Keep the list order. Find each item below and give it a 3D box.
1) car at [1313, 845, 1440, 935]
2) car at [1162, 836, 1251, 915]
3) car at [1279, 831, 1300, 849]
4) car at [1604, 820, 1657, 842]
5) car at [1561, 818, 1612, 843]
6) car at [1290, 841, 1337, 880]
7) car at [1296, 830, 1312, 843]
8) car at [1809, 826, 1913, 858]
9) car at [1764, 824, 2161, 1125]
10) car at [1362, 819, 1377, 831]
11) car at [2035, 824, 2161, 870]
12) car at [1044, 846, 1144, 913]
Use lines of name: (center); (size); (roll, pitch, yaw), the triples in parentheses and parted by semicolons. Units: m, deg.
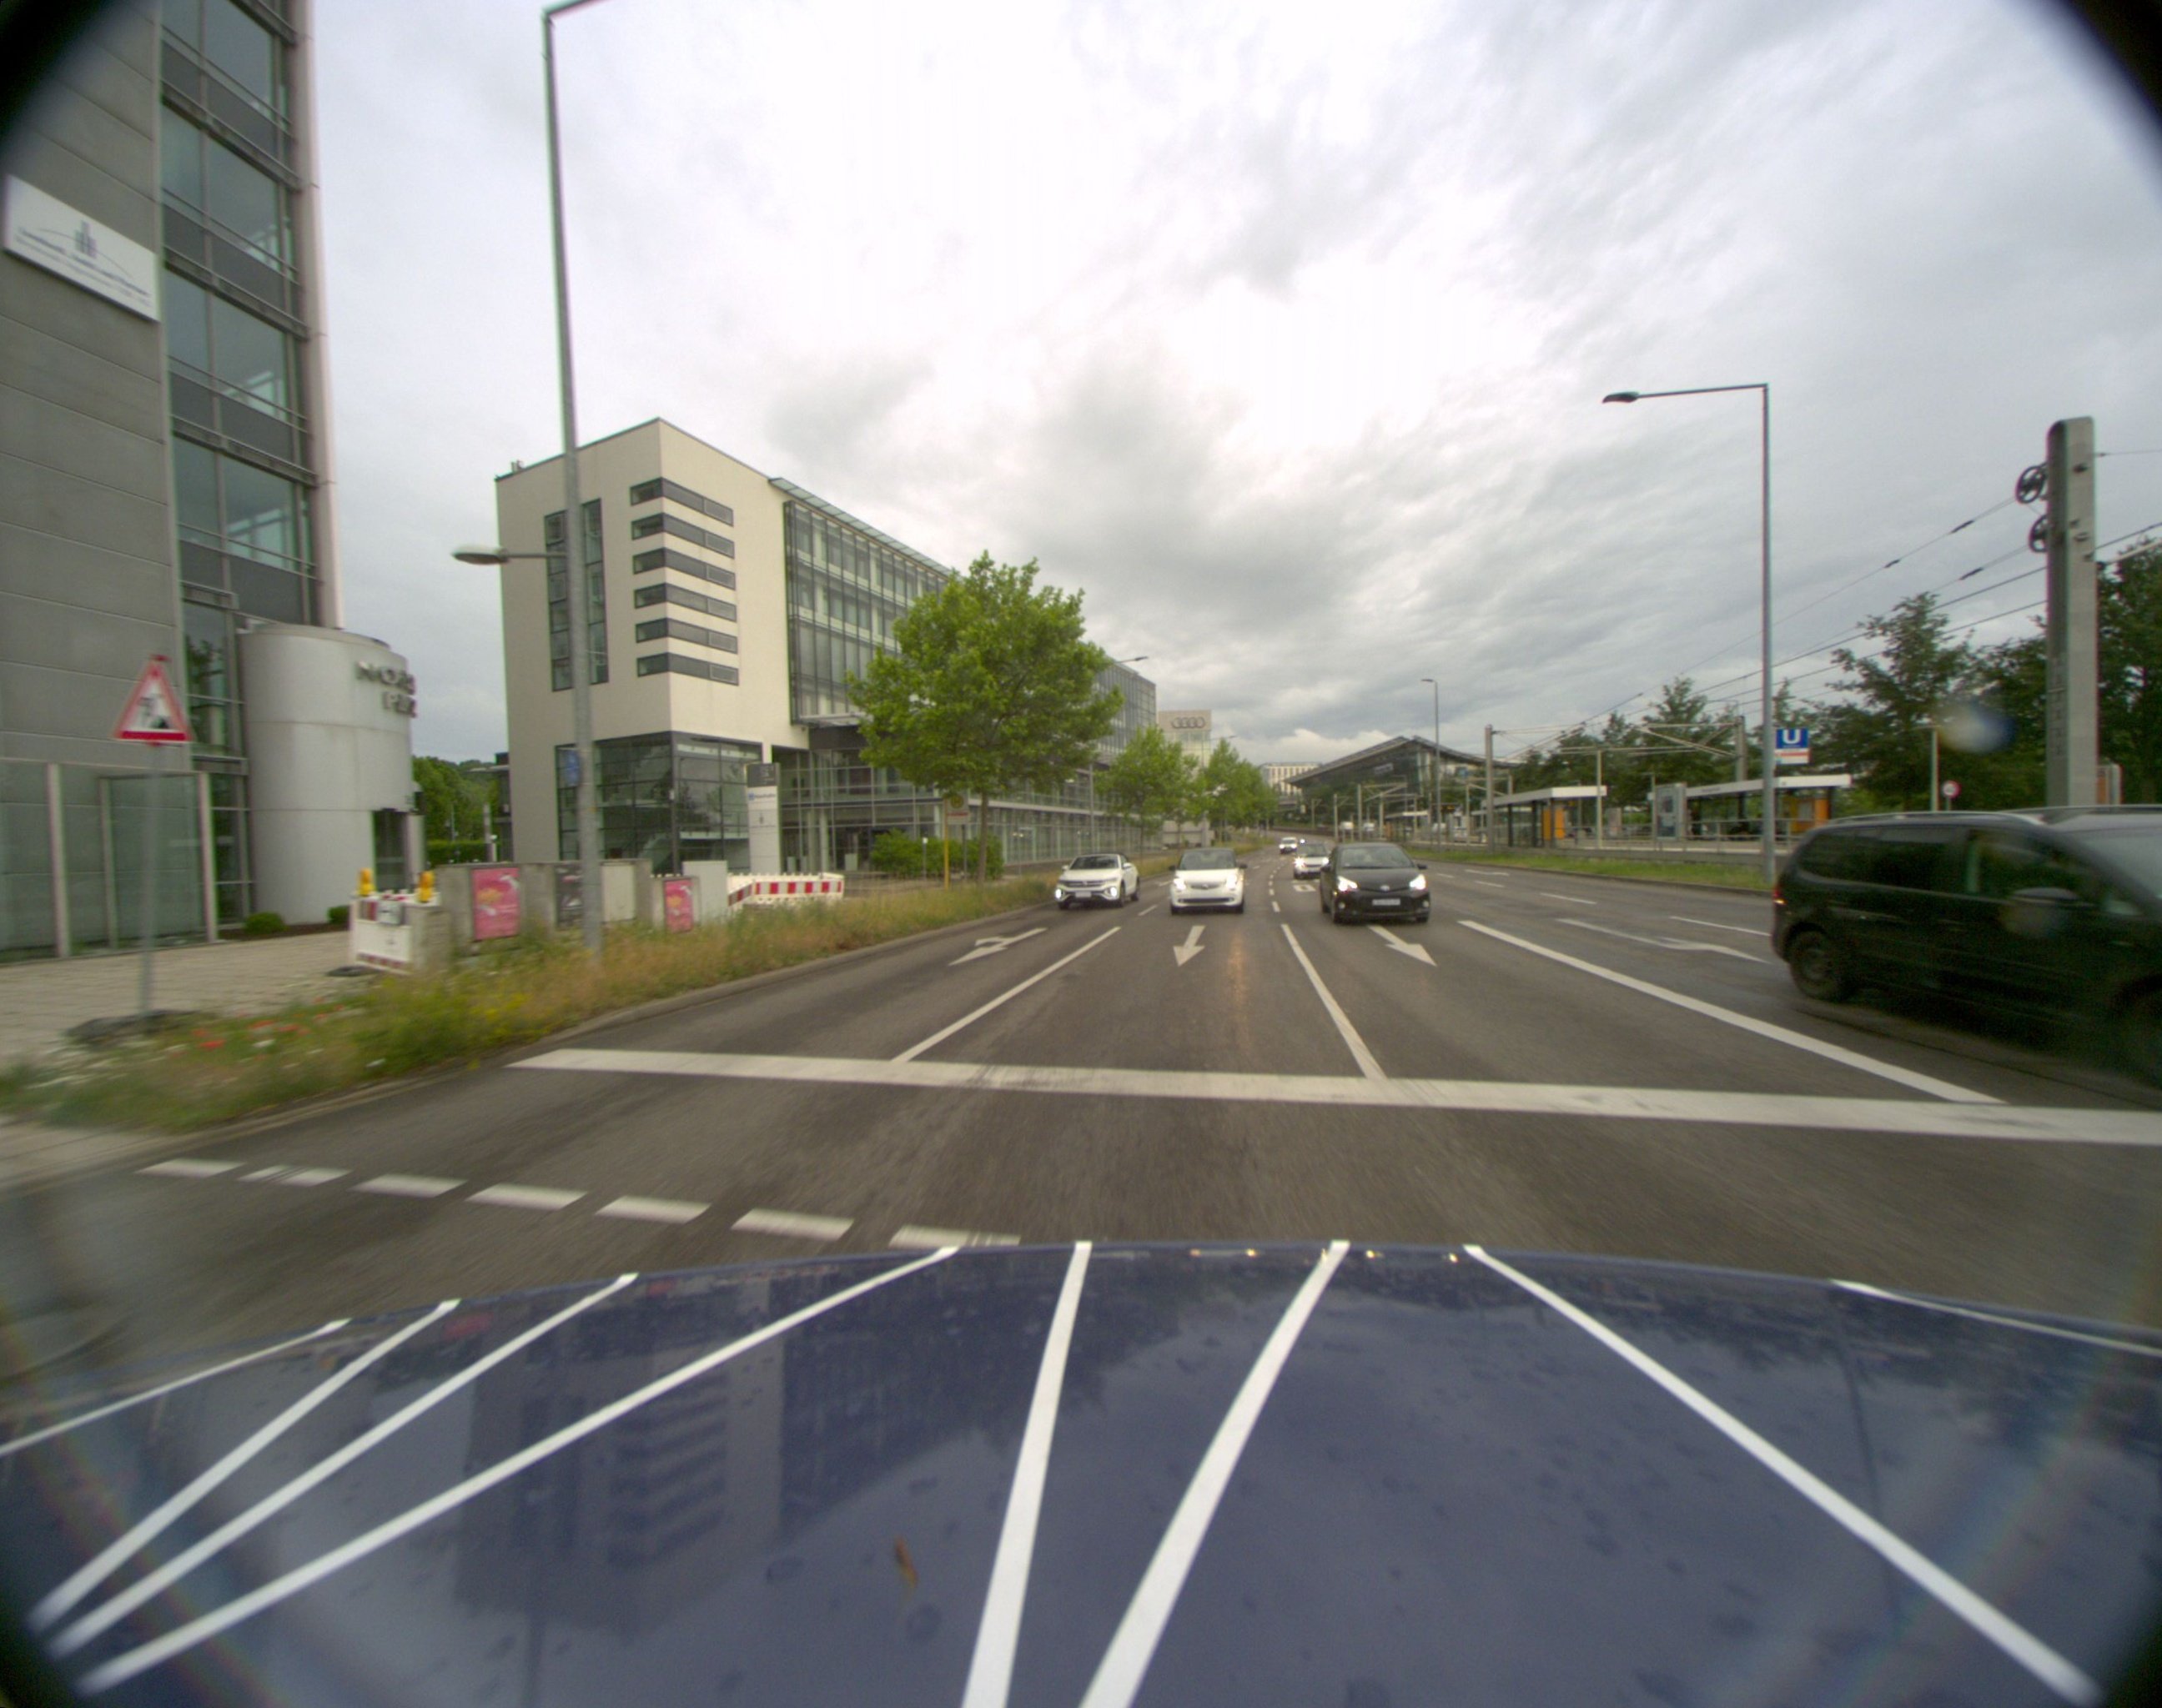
car: (5.718, 0.615, 15.136); (1.695, 1.514, 3.908); (-3, 0, 12)
car: (3.224, 0.455, 18.849); (1.803, 1.713, 4.004); (-2, 1, 14)
car: (23.226, -1.559, 84.420); (1.826, 1.701, 4.158); (-3, 1, 20)
car: (41.473, -1.782, 57.433); (1.790, 1.494, 4.002); (-4, 1, 13)
car: (37.644, -1.741, 56.671); (1.531, 1.657, 4.271); (-4, 1, 10)
car: (10.017, 0.247, 32.933); (1.738, 1.470, 4.003); (-3, 1, 15)
car: (30.620, -2.422, 104.378); (1.699, 1.514, 3.829); (-2, 2, 22)
car: (41.073, -0.673, 40.149); (1.742, 1.454, 4.155); (-4, 1, 11)
car: (6.992, 0.647, 4.988); (1.730, 1.583, 4.195); (-4, 1, 10)
car: (57.169, -5.656, 150.466); (1.997, 2.202, 5.147); (-4, 1, 13)
car: (41.668, -0.331, 30.726); (1.574, 1.617, 4.085); (-4, 1, 11)
car: (0.481, 0.653, 21.873); (1.997, 1.669, 3.825); (-3, 0, 13)
